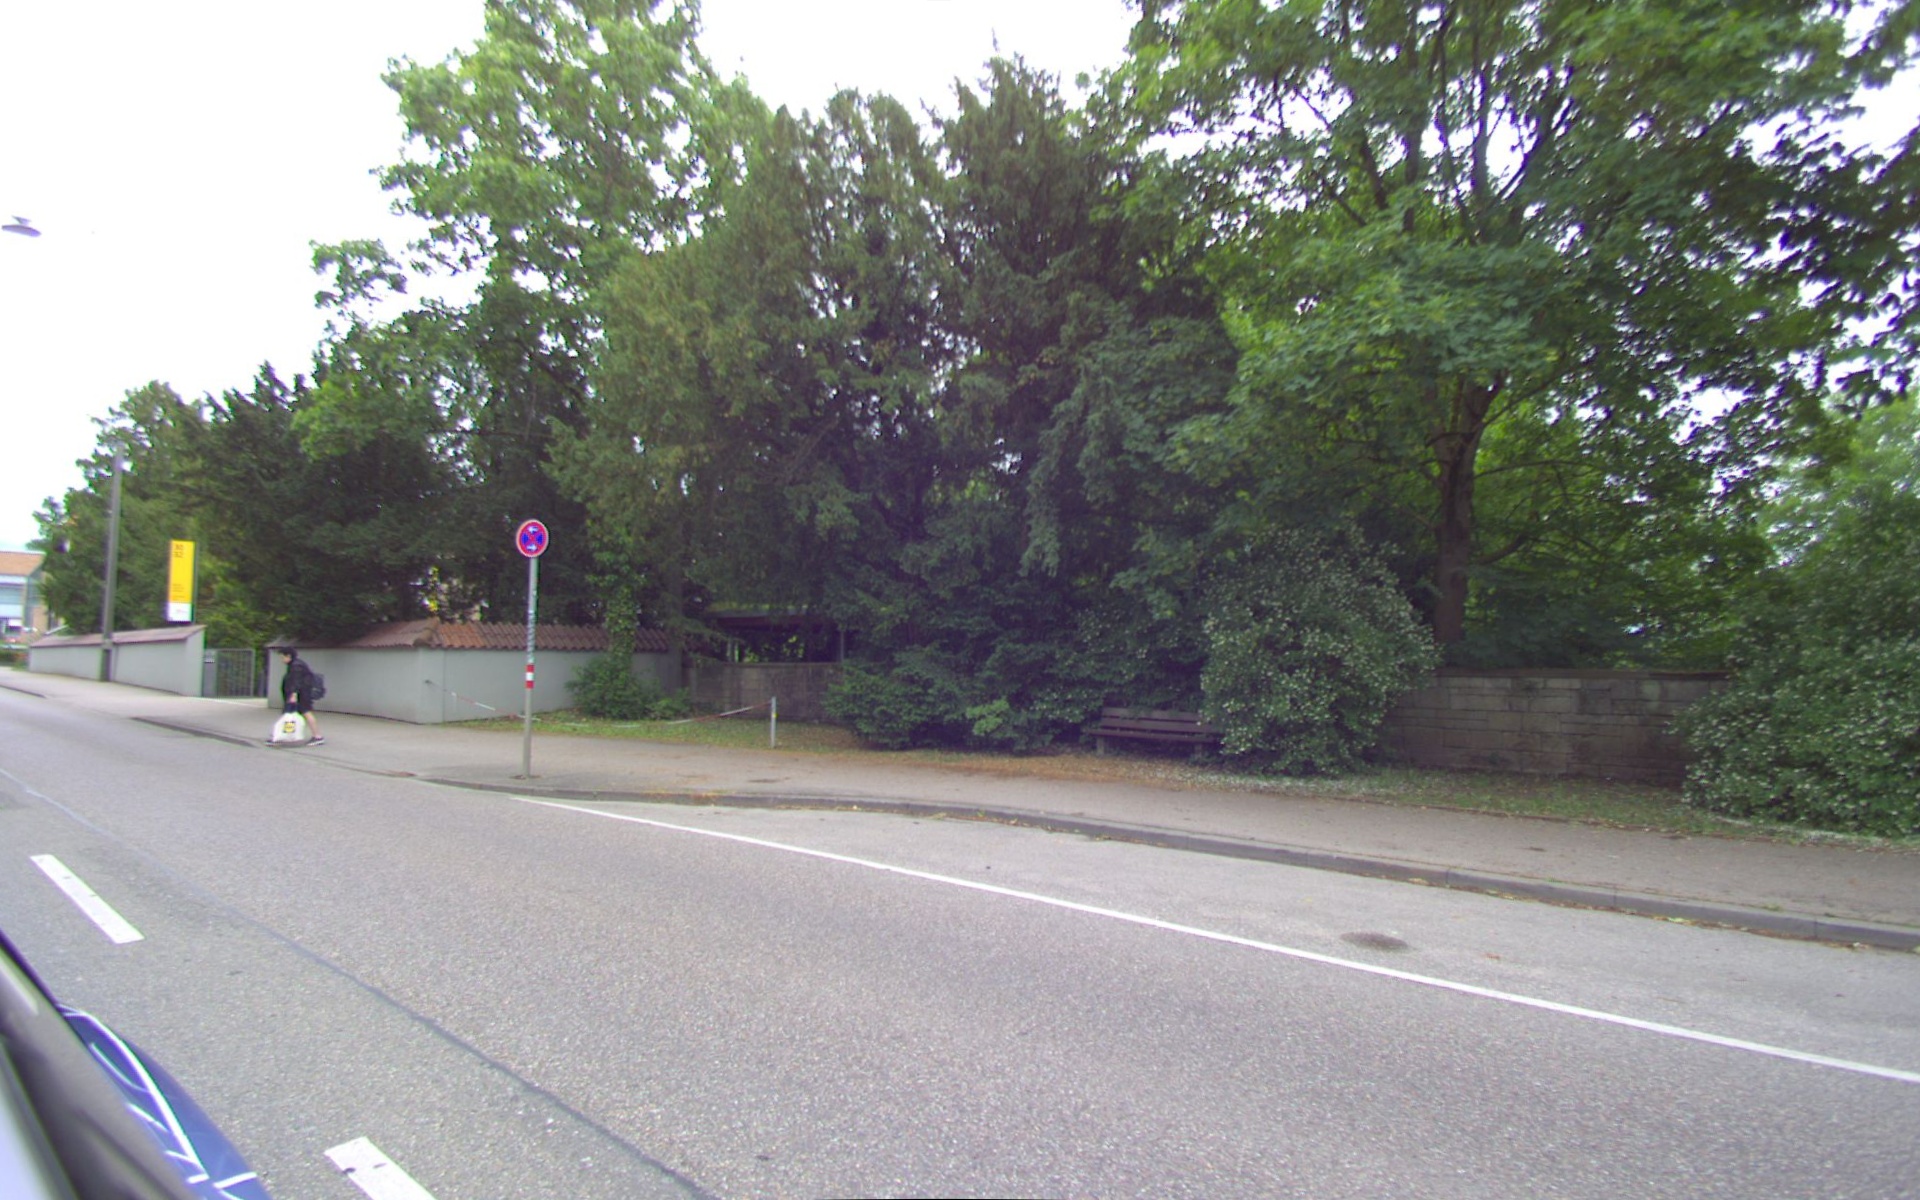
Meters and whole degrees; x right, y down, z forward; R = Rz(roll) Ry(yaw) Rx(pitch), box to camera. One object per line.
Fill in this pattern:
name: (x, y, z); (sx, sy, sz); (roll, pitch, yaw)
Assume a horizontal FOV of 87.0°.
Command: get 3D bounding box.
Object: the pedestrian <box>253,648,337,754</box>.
pedestrian: (-10.305, 1.536, 15.716); (0.887, 1.572, 0.931); (1, -2, -21)
